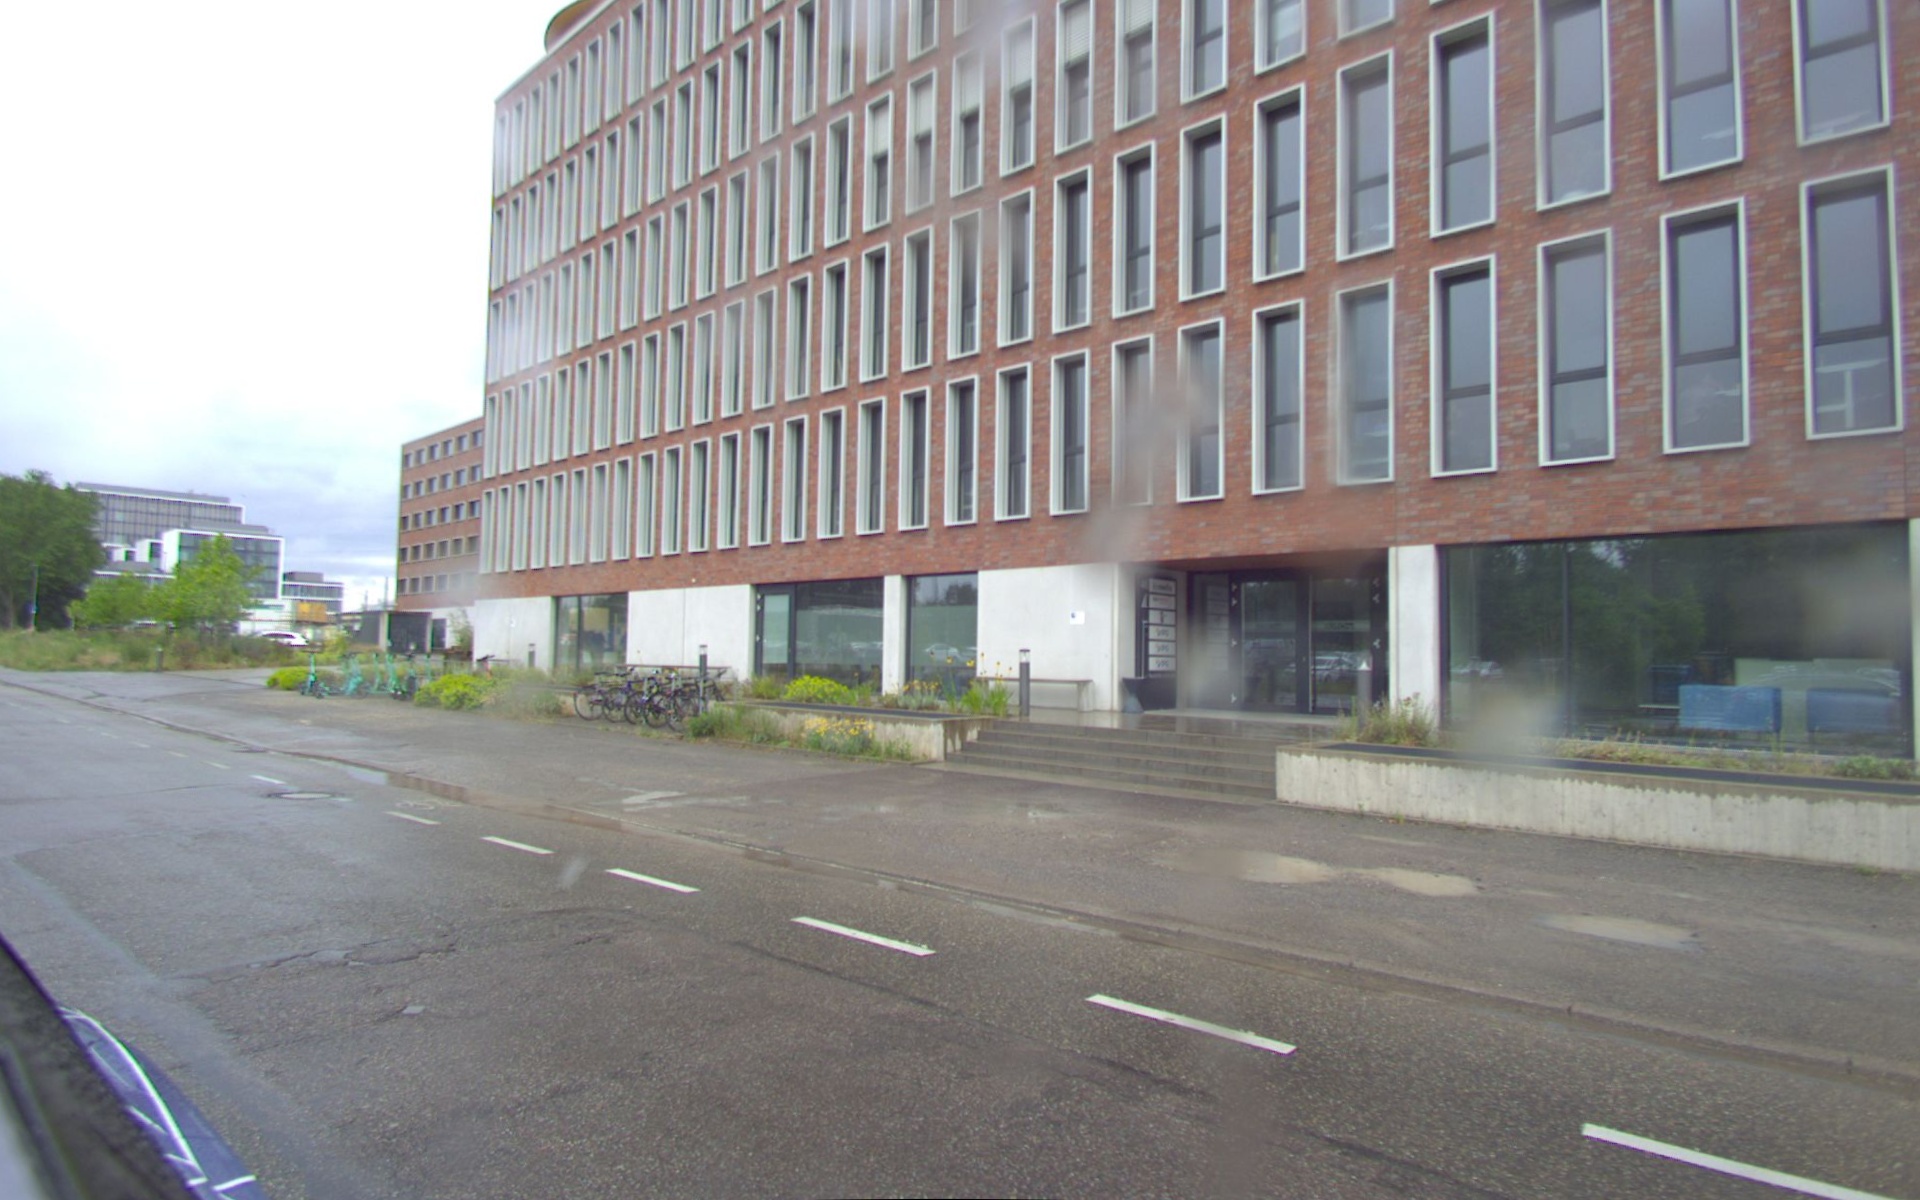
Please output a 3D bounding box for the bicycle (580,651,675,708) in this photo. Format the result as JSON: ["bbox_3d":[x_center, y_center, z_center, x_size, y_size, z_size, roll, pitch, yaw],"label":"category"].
[{"bbox_3d":[-6.783,1.605,20.720,0.544,1.085,1.841,-1,-2,38],"label":"bicycle"}]

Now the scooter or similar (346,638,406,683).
[{"bbox_3d":[-15.868,1.647,27.524,0.465,1.186,1.308,0,-4,28],"label":"scooter or similar"}]

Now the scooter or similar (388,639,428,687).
[{"bbox_3d":[-14.404,1.645,26.408,0.460,1.217,1.210,2,-4,-8],"label":"scooter or similar"}]

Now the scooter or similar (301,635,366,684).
[{"bbox_3d":[-16.286,1.551,26.331,1.298,1.239,0.469,3,-4,-21],"label":"scooter or similar"}]

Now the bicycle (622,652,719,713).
[{"bbox_3d":[-5.608,1.579,19.697,0.544,1.085,1.841,-1,-2,38],"label":"bicycle"}]

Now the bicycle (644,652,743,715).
[{"bbox_3d":[-5.019,1.558,19.169,0.544,1.085,1.841,-1,-2,38],"label":"bicycle"}]

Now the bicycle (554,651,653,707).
[{"bbox_3d":[-7.474,1.627,21.276,0.620,1.085,1.929,-1,-2,38],"label":"bicycle"}]

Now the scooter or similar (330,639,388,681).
[{"bbox_3d":[-17.148,1.718,28.886,1.301,1.186,0.468,5,-5,-45],"label":"scooter or similar"}]

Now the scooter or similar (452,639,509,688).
[{"bbox_3d":[-12.360,1.647,26.089,1.211,1.217,0.418,5,-5,-43],"label":"scooter or similar"}]

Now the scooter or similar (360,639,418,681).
[{"bbox_3d":[-16.342,1.721,28.985,1.301,1.186,0.468,5,-5,-45],"label":"scooter or similar"}]

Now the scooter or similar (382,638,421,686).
[{"bbox_3d":[-14.918,1.647,27.067,0.460,1.239,1.210,2,-4,-8],"label":"scooter or similar"}]

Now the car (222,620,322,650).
[{"bbox_3d":[-40.814,2.106,60.127,1.997,1.654,4.479,0,-3,37],"label":"car"}]

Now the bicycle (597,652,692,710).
[{"bbox_3d":[-6.306,1.599,20.318,0.544,1.085,1.841,-1,-2,38],"label":"bicycle"}]

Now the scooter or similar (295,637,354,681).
[{"bbox_3d":[-18.268,1.699,29.111,1.299,1.239,0.509,2,-4,-12],"label":"scooter or similar"}]

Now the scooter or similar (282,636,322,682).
[{"bbox_3d":[-18.256,1.626,28.070,1.318,1.239,0.461,-1,-5,37],"label":"scooter or similar"}]

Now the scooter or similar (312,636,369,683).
[{"bbox_3d":[-16.933,1.626,27.652,1.307,1.239,0.466,1,-4,12],"label":"scooter or similar"}]
